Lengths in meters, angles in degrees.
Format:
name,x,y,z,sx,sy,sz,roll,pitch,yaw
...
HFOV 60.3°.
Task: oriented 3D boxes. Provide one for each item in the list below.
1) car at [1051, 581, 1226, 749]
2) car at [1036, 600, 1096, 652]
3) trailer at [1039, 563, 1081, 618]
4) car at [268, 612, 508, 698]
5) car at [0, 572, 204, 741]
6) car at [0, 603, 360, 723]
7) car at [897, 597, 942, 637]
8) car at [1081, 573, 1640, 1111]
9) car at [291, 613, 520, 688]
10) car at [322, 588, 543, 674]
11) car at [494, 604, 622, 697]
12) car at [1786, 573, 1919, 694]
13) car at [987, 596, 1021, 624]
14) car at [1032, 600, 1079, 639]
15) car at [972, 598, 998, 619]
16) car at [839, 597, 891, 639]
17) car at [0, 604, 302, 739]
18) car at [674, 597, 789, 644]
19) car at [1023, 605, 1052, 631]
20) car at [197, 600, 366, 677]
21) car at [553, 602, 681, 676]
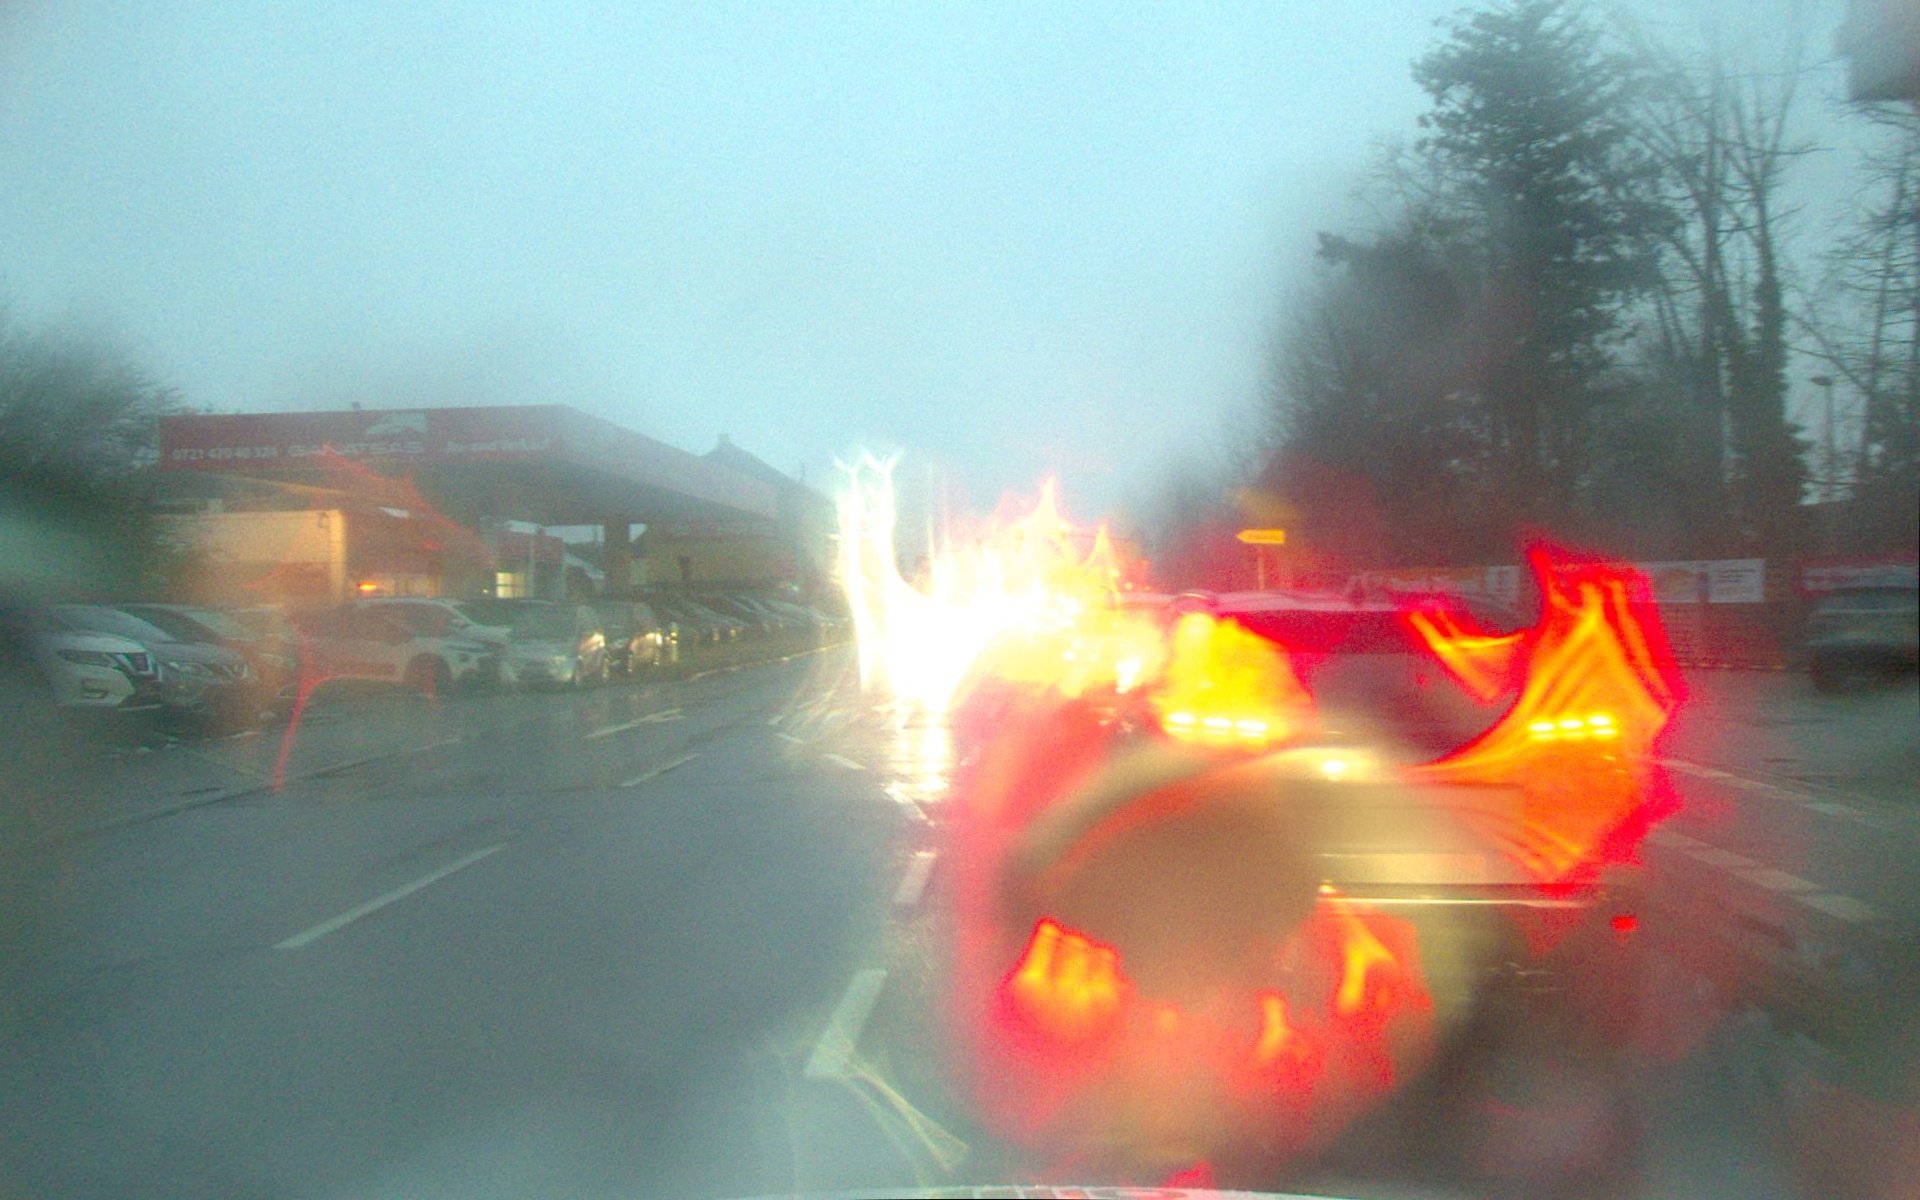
name,x,y,z,sx,sy,sz,roll,pitch,yaw
car,1.859,0.629,18.321,1.672,1.603,4.466,-1,0,3
car,2.981,0.707,46.795,1.606,1.390,4.771,-1,0,3
trailer,6.310,-0.541,105.498,2.436,3.297,10.871,0,0,2
car,-10.278,0.973,29.913,3.694,1.485,1.776,0,0,0
car,-10.813,0.587,17.744,4.442,1.706,2.010,-1,0,-1
car,-10.633,0.826,22.497,4.245,1.524,1.826,-1,0,3
car,-1.652,0.694,69.195,1.570,1.561,4.001,-3,0,2
car,1.307,0.704,6.823,1.532,1.556,4.008,0,0,3
car,-10.671,0.959,32.029,3.778,1.369,1.840,0,0,2
car,-11.066,0.640,34.849,3.962,1.679,1.943,-1,0,4
car,-7.495,0.906,31.058,1.486,1.570,3.016,-2,0,3
car,14.167,0.425,24.425,4.443,1.636,1.990,-1,0,-41
car,2.754,0.629,104.067,2.005,1.600,4.703,-2,0,0
car,3.500,0.679,60.796,1.619,1.359,4.274,-1,0,3
car,2.255,0.753,147.355,1.951,1.777,4.003,-2,0,6
car,-4.502,0.818,78.884,1.929,1.862,4.514,-2,0,3
car,-10.551,0.843,20.147,4.244,1.524,1.996,-1,0,5
car,-9.016,0.799,65.487,4.187,1.691,2.001,2,0,3
car,4.394,0.996,94.199,1.627,1.464,4.383,0,0,3
car,-14.357,0.772,35.216,1.795,1.515,3.873,0,0,4
car,-7.208,0.786,35.107,1.647,1.445,3.742,-1,0,5
